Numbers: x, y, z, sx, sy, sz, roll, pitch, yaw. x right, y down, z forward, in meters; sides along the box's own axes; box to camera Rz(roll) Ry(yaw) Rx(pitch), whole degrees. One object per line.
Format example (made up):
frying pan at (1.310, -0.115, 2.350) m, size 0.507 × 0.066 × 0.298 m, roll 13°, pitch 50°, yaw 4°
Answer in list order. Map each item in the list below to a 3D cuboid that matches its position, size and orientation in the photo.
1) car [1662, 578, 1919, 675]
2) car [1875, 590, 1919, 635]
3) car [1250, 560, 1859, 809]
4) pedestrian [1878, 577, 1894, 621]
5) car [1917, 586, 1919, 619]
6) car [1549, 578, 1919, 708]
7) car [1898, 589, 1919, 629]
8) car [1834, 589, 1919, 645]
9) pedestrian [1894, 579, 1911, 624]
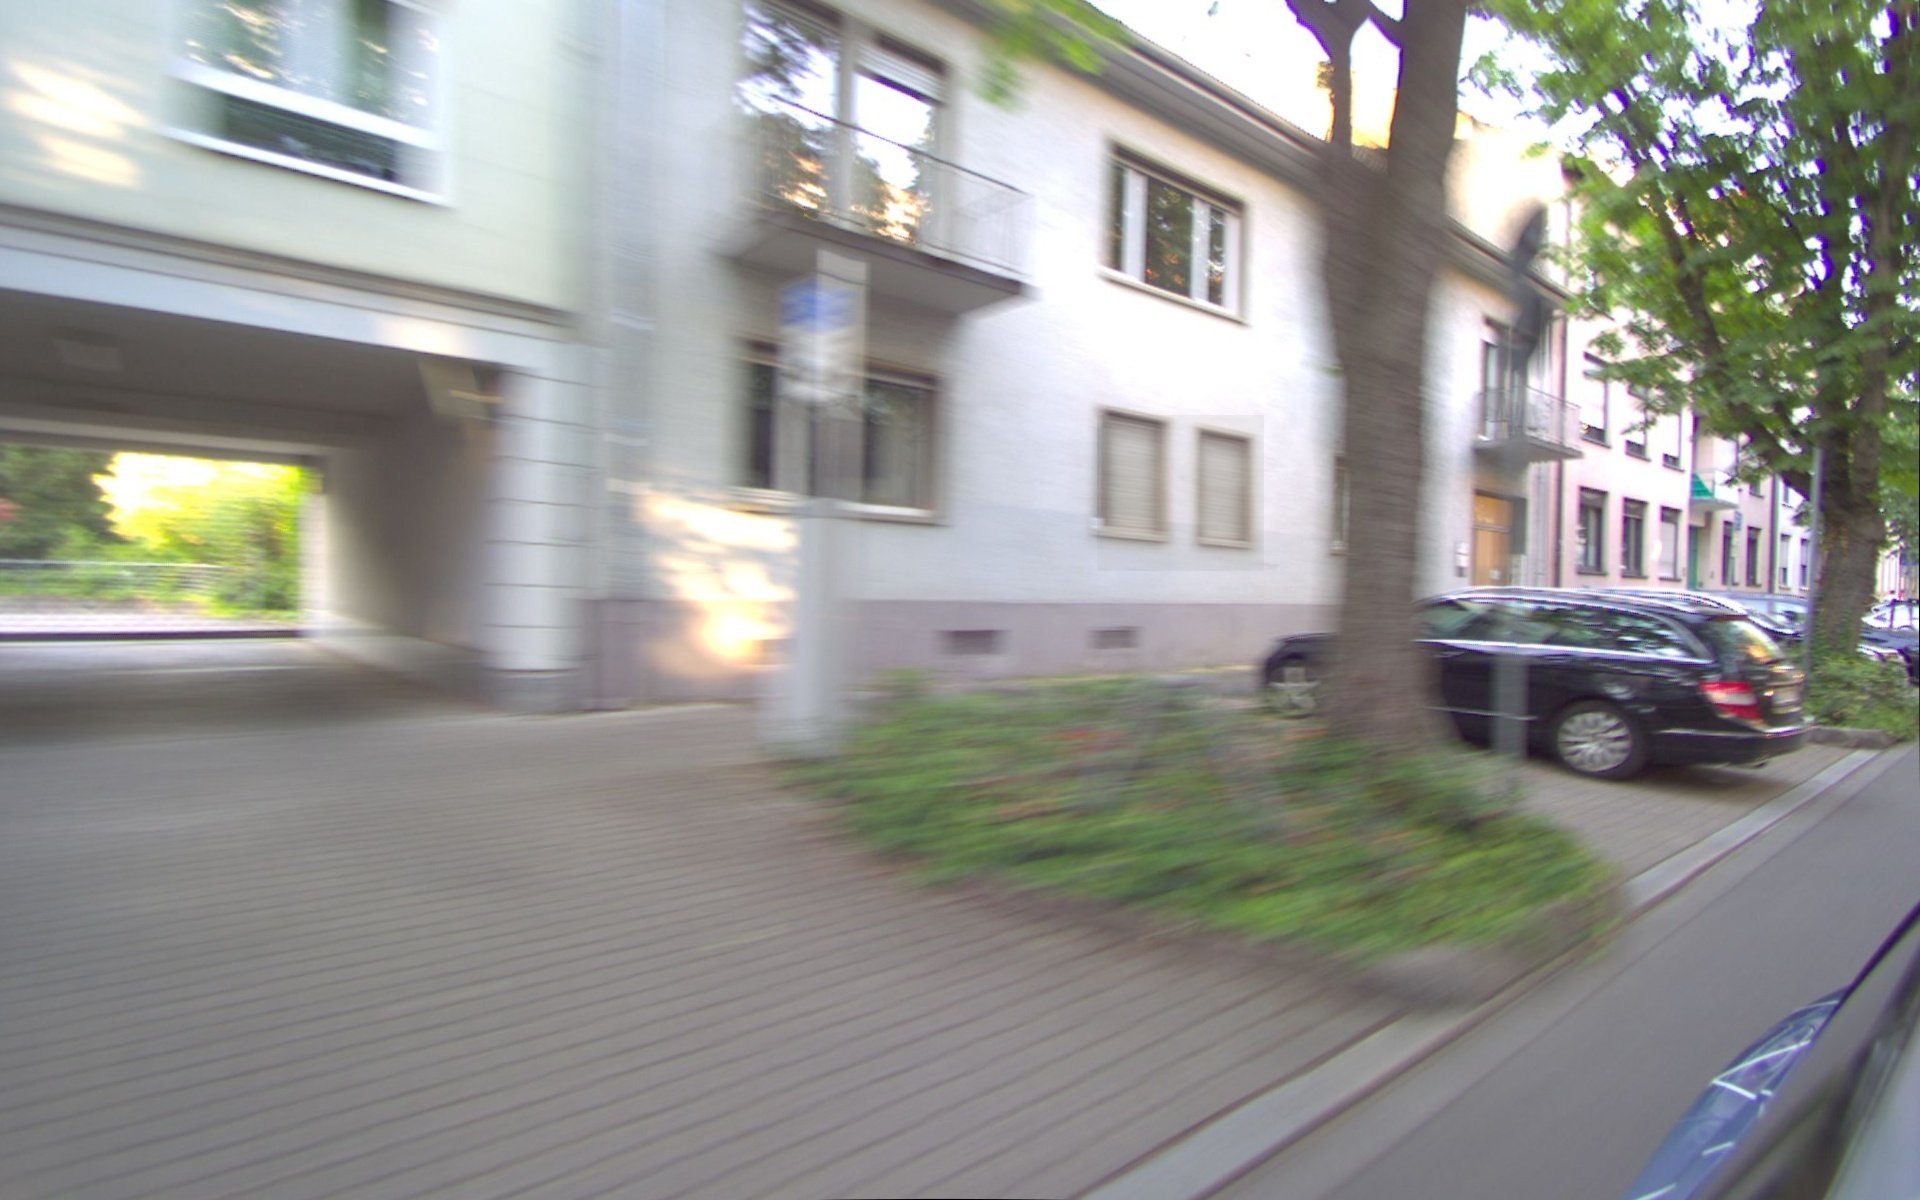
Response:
car at (16.286, 0.454, 19.170) m, size 1.665 × 1.488 × 4.597 m, roll 0°, pitch 4°, yaw -38°
car at (32.683, 0.495, 33.063) m, size 1.644 × 1.415 × 3.862 m, roll 0°, pitch 3°, yaw -37°
car at (4.975, 0.512, 9.153) m, size 1.698 × 1.487 × 4.375 m, roll 0°, pitch 4°, yaw -35°
pedestrian at (42.791, -0.050, 46.771) m, size 0.476 × 2.038 × 0.449 m, roll 0°, pitch 1°, yaw -40°
car at (42.615, 0.214, 42.083) m, size 1.645 × 1.415 × 3.859 m, roll 0°, pitch 3°, yaw -39°
car at (11.585, 0.514, 15.068) m, size 1.916 × 1.542 × 4.457 m, roll 0°, pitch 2°, yaw -39°
car at (36.297, 0.423, 36.168) m, size 1.645 × 1.415 × 3.859 m, roll 0°, pitch 3°, yaw -39°
car at (26.709, 0.519, 27.853) m, size 1.647 × 1.415 × 3.854 m, roll 0°, pitch 3°, yaw -43°
pedestrian at (43.171, 0.045, 46.342) m, size 0.476 × 2.038 × 0.449 m, roll 0°, pitch 1°, yaw -40°
